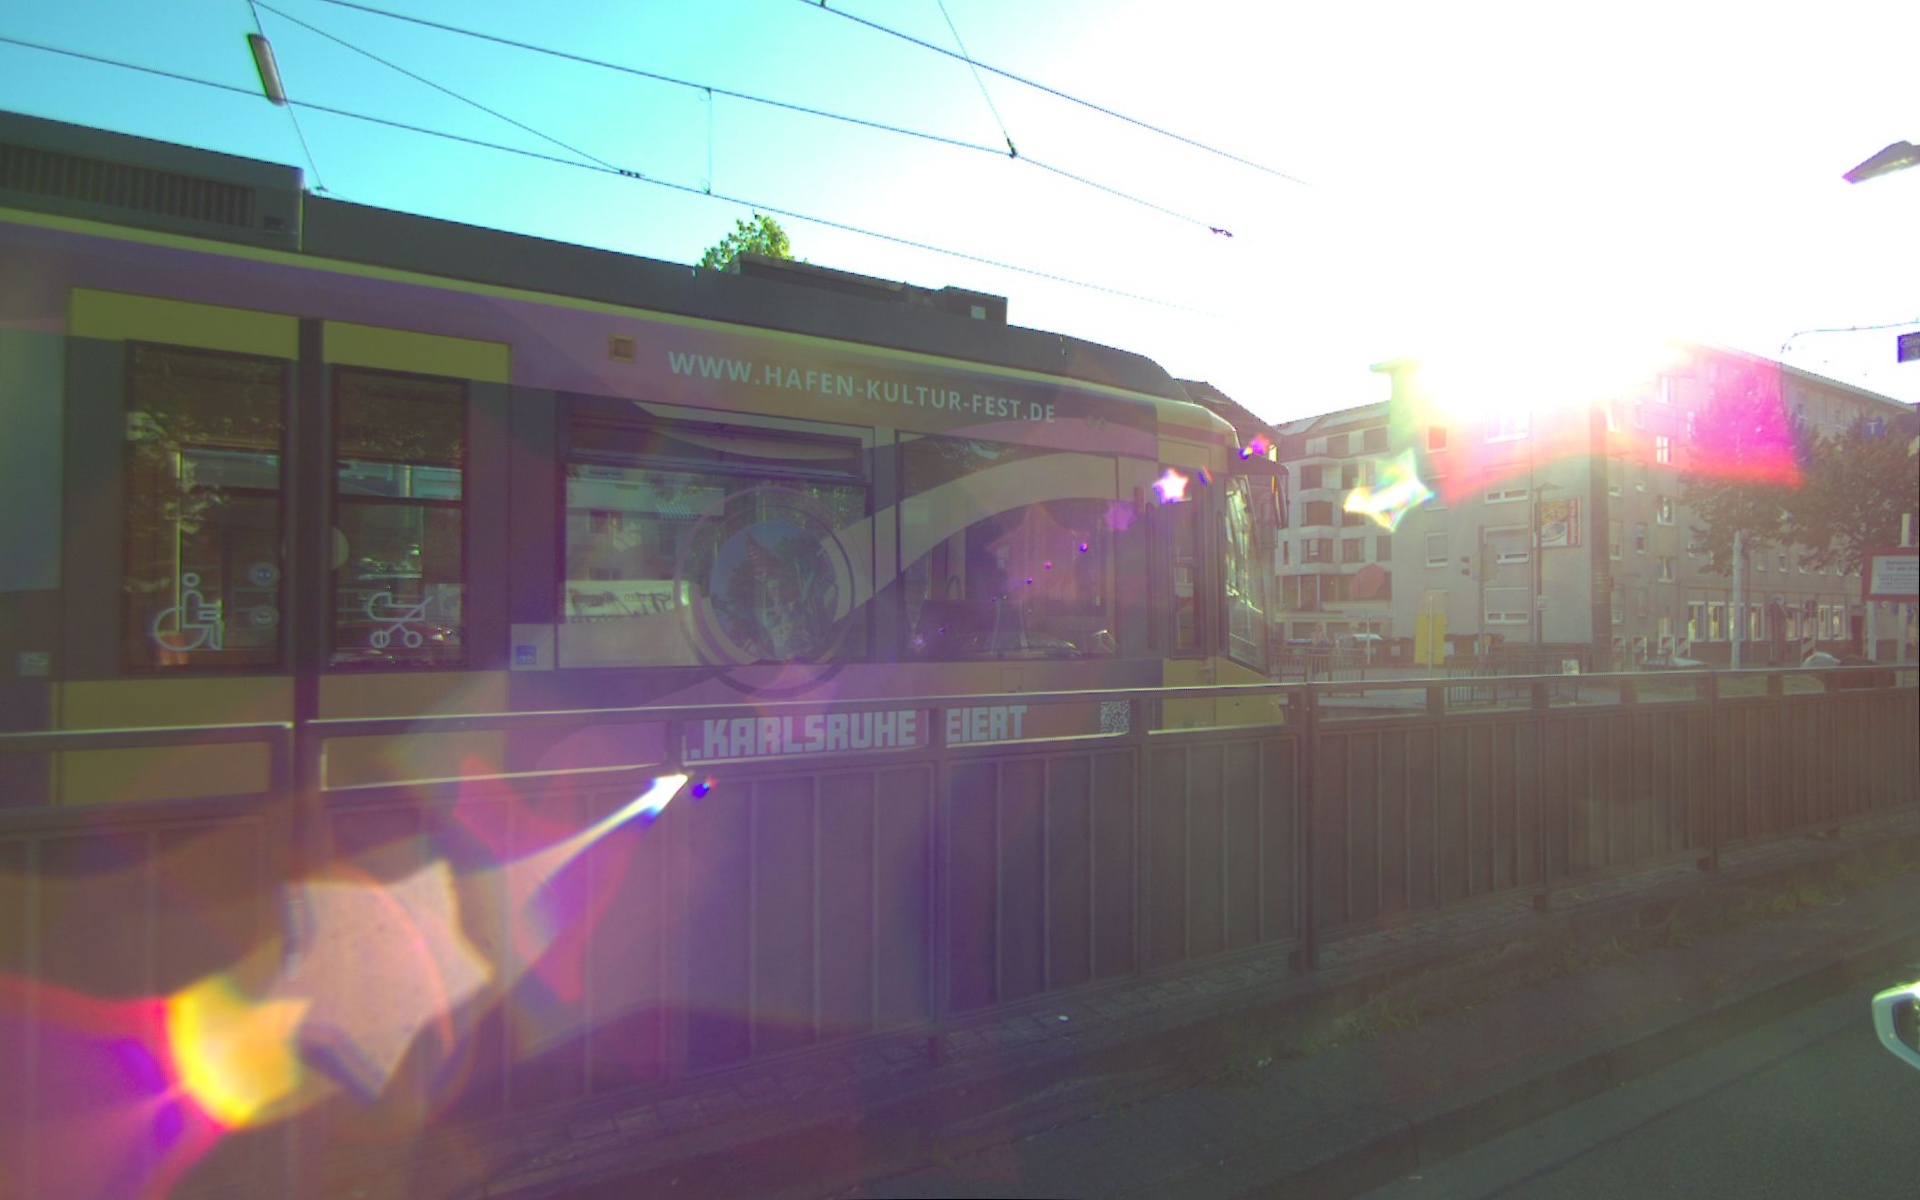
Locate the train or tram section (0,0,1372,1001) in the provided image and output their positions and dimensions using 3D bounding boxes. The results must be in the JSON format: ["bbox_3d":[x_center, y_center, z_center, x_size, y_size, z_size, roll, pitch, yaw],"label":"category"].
[{"bbox_3d":[-2.025,-0.304,5.979,9.984,3.563,3.020,2,-3,-32],"label":"train or tram section"}]

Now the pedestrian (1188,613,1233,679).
[{"bbox_3d":[7.447,1.355,29.872,0.989,1.907,0.749,1,1,-32],"label":"pedestrian"}]

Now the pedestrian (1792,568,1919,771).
[{"bbox_3d":[7.545,0.547,8.279,0.782,1.571,0.908,1,-1,-38],"label":"pedestrian"}]

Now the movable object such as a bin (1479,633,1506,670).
[{"bbox_3d":[21.027,2.031,39.654,0.740,1.419,0.660,1,-2,-32],"label":"movable object such as a bin"}]

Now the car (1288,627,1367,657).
[{"bbox_3d":[19.164,2.194,52.499,1.792,1.532,3.809,1,-3,-23],"label":"car"}]

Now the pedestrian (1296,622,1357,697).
[{"bbox_3d":[8.476,1.363,23.264,0.923,1.676,0.922,1,1,-19],"label":"pedestrian"}]

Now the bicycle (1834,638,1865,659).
[{"bbox_3d":[49.151,2.653,55.496,1.757,1.129,0.743,1,-2,-30],"label":"bicycle"}]
